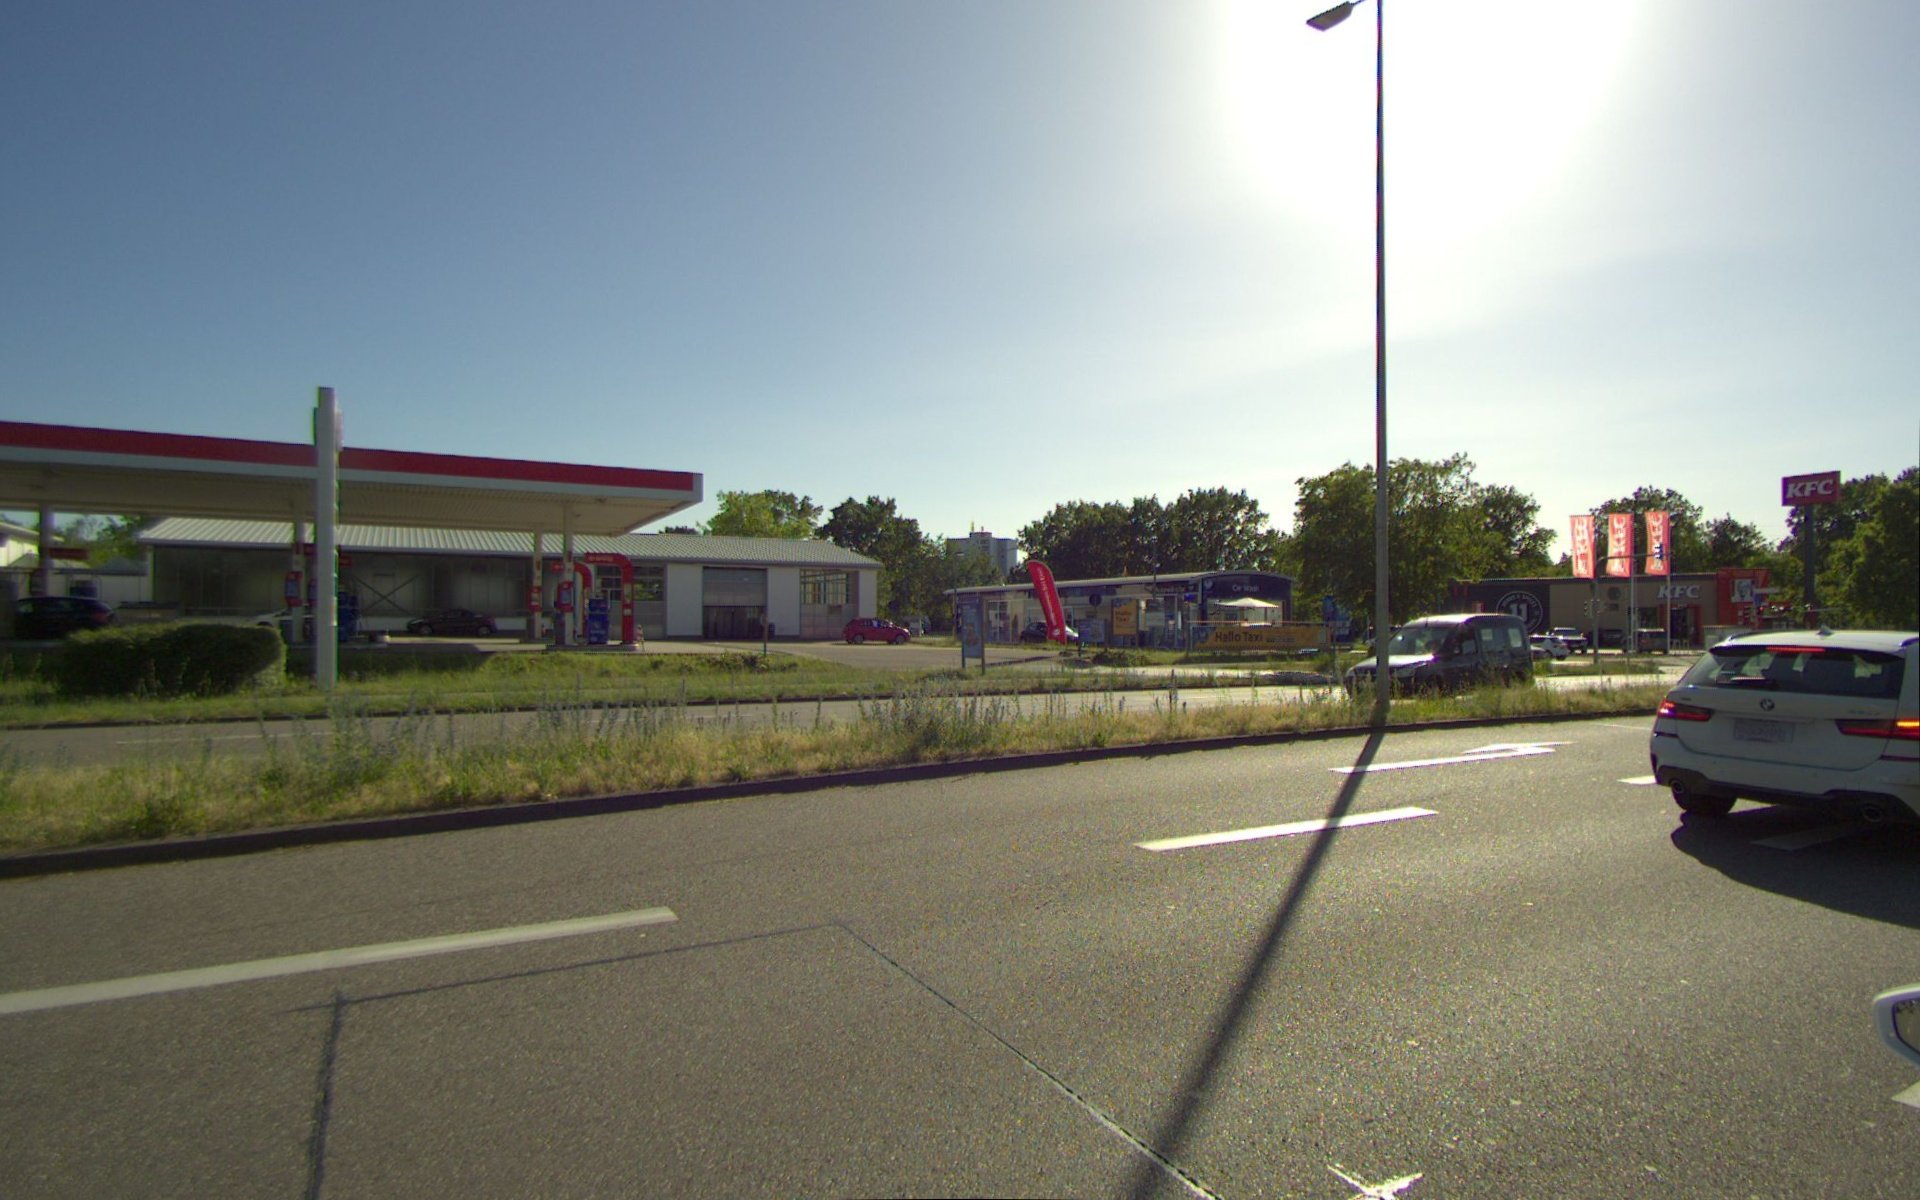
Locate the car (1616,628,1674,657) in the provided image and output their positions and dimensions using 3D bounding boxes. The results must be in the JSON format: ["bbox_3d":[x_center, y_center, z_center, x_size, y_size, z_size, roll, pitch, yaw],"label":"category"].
[{"bbox_3d":[46.251,2.840,67.893,1.896,1.763,4.099,2,0,14],"label":"car"}]

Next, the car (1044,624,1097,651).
[{"bbox_3d":[6.587,2.234,60.147,1.516,1.460,3.123,2,0,-31],"label":"car"}]

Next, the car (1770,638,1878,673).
[{"bbox_3d":[44.614,2.856,51.984,3.696,1.579,2.001,2,0,15],"label":"car"}]

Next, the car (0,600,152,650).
[{"bbox_3d":[-26.989,0.752,30.163,3.953,1.423,1.984,1,-1,-30],"label":"car"}]

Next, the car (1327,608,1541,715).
[{"bbox_3d":[9.257,1.156,19.548,4.246,1.872,1.669,2,0,-31],"label":"car"}]

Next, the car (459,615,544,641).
[{"bbox_3d":[-22.878,1.393,50.139,3.687,1.203,1.667,2,0,-30],"label":"car"}]

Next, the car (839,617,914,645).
[{"bbox_3d":[-4.767,1.778,57.254,3.948,1.491,1.521,2,0,-24],"label":"car"}]

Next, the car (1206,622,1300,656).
[{"bbox_3d":[14.017,1.853,48.065,3.941,1.461,1.990,2,0,-21],"label":"car"}]

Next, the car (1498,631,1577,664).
[{"bbox_3d":[35.665,2.927,62.085,1.976,1.837,3.743,2,0,-29],"label":"car"}]

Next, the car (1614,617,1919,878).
[{"bbox_3d":[7.251,0.953,7.790,4.542,1.506,1.803,2,0,-30],"label":"car"}]

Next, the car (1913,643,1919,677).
[{"bbox_3d":[51.724,3.110,51.904,4.254,1.749,1.801,1,0,-18],"label":"car"}]

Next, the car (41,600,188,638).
[{"bbox_3d":[-36.025,0.800,42.980,4.489,1.486,1.984,2,0,-30],"label":"car"}]

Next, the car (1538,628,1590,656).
[{"bbox_3d":[41.475,2.865,69.103,1.896,1.763,4.099,2,0,14],"label":"car"}]

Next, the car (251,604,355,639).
[{"bbox_3d":[-29.972,0.982,45.994,3.812,1.508,1.984,2,0,-30],"label":"car"}]
